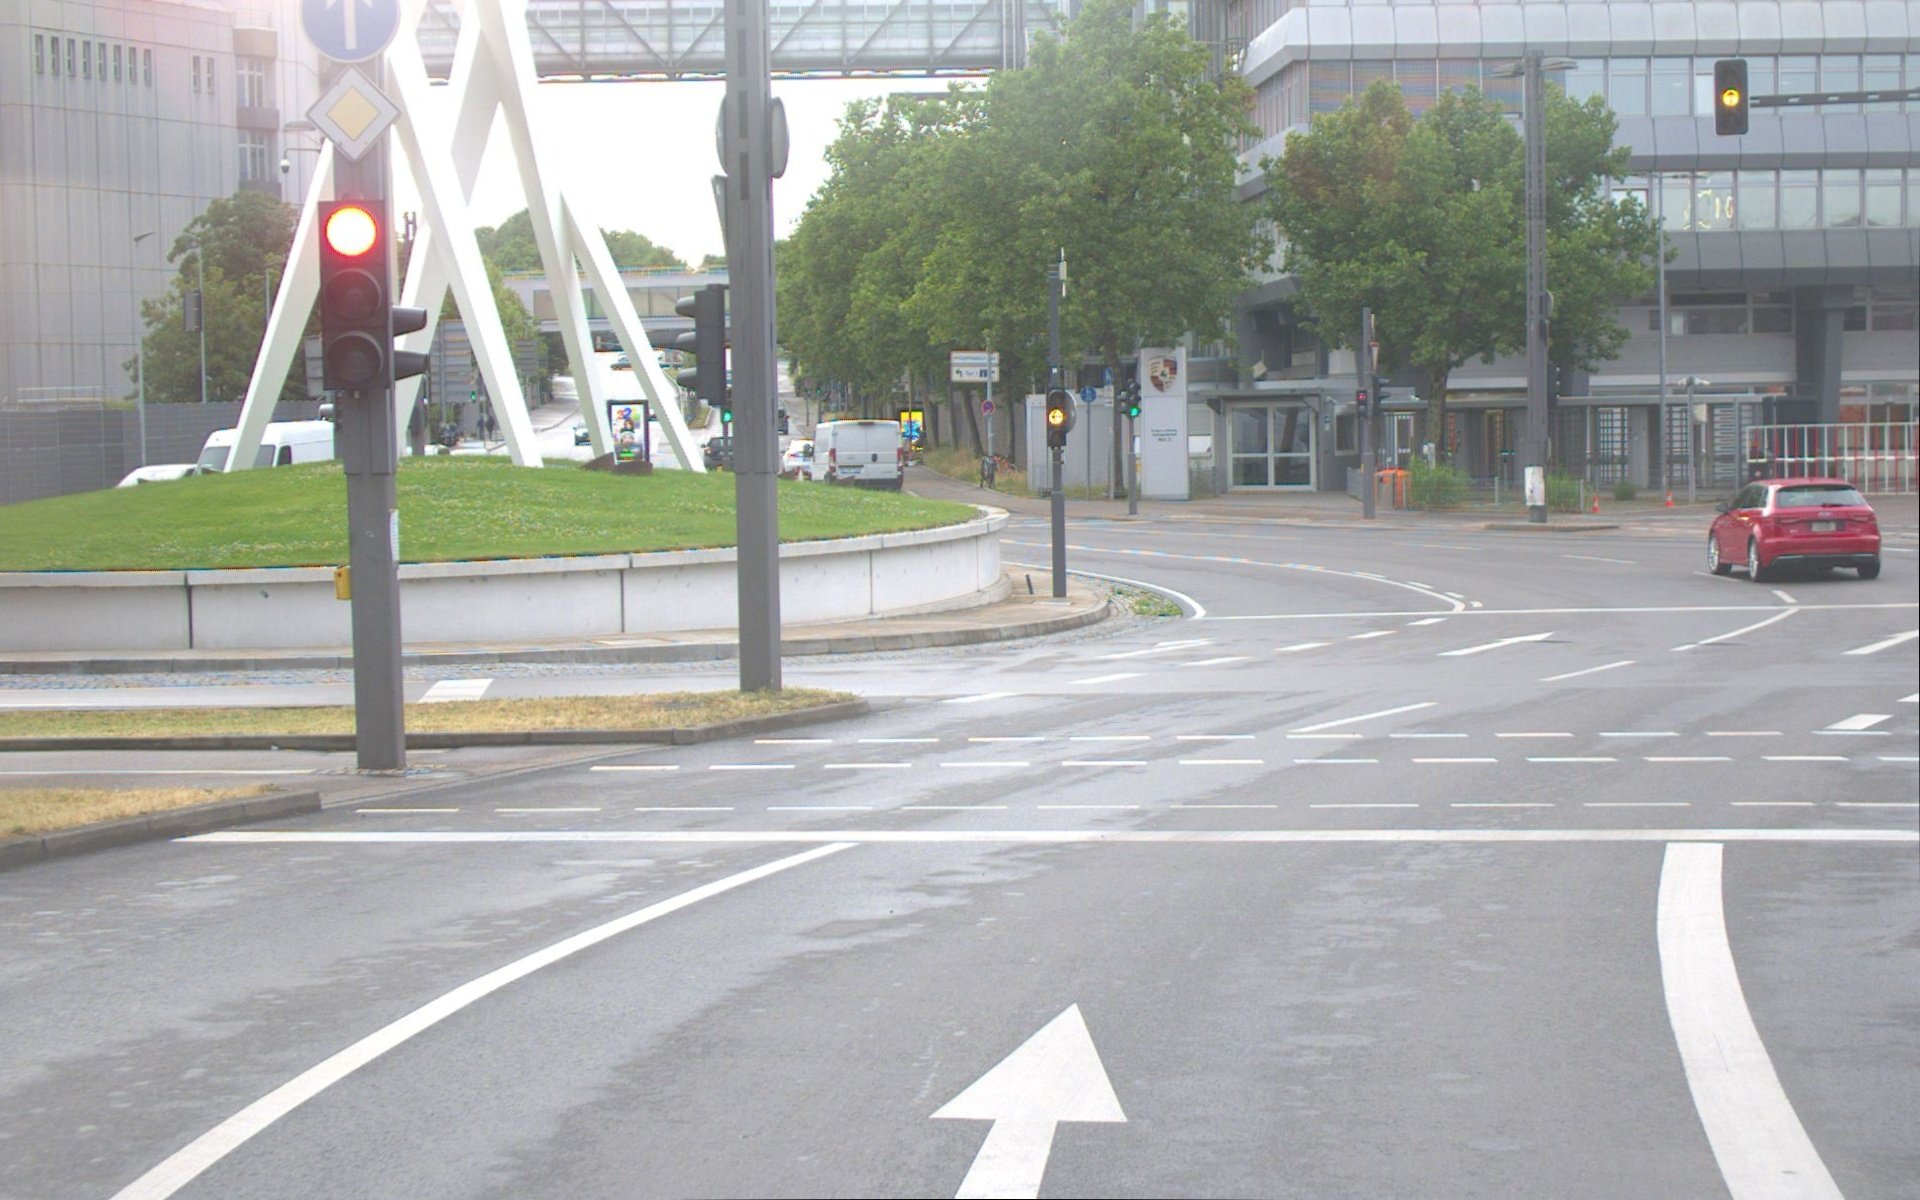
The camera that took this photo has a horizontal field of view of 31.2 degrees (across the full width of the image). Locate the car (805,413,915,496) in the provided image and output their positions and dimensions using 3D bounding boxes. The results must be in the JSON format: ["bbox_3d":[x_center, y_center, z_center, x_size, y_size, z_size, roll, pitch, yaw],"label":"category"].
[{"bbox_3d":[-2.786,-3.973,94.652,2.232,2.100,4.956,-1,0,-11],"label":"car"}]

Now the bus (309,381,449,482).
[{"bbox_3d":[-19.522,-5.610,116.339,2.669,3.190,12.671,0,2,0],"label":"bus"}]

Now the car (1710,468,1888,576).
[{"bbox_3d":[11.866,-1.090,48.830,1.772,1.459,3.732,-1,1,3],"label":"car"}]

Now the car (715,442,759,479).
[{"bbox_3d":[-8.208,-5.141,126.862,1.557,1.284,3.414,-1,1,-3],"label":"car"}]

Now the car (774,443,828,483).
[{"bbox_3d":[-5.677,-4.863,122.398,1.667,1.296,3.887,-1,1,-6],"label":"car"}]

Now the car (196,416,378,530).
[{"bbox_3d":[-15.093,-2.855,77.395,1.994,2.438,5.424,-1,2,12],"label":"car"}]
